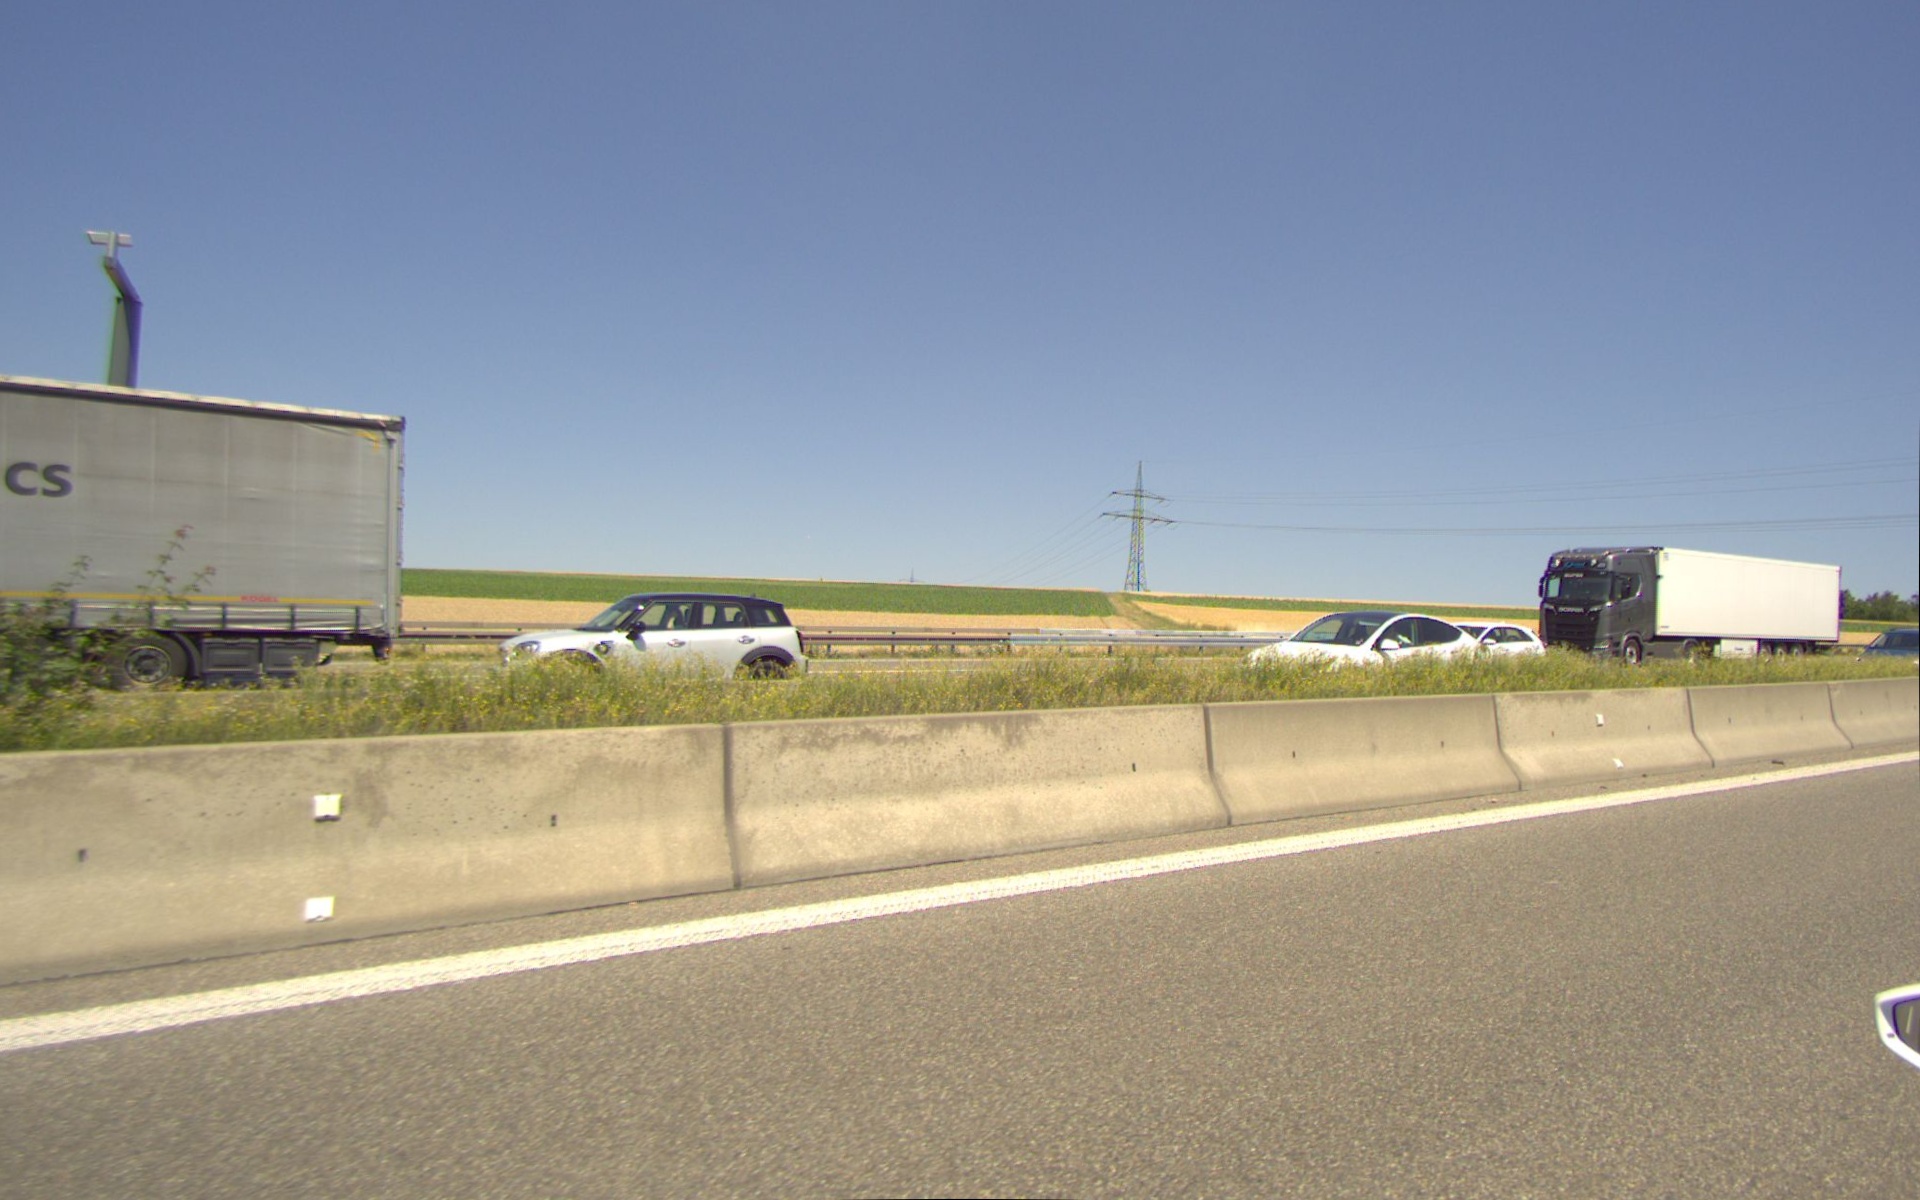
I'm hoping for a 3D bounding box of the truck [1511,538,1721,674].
[{"bbox_3d":[22.772,0.254,34.812,7.040,4.262,3.212,1,0,-30],"label":"truck"}]

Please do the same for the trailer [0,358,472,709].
[{"bbox_3d":[-14.411,-0.899,12.973,14.371,4.382,3.109,2,0,-30],"label":"trailer"}]

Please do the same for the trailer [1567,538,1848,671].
[{"bbox_3d":[28.717,0.292,38.227,13.859,4.446,3.227,2,0,-30],"label":"trailer"}]

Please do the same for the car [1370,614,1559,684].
[{"bbox_3d":[12.061,1.156,23.952,4.520,1.476,1.857,2,0,-31],"label":"car"}]

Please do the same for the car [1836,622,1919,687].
[{"bbox_3d":[27.481,1.530,28.906,4.906,1.689,1.984,2,0,-31],"label":"car"}]

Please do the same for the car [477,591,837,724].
[{"bbox_3d":[-4.231,0.768,14.194,4.535,1.608,1.984,2,-1,-30],"label":"car"}]

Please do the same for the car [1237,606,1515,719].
[{"bbox_3d":[6.885,0.961,16.520,4.535,1.592,1.870,1,0,-31],"label":"car"}]
